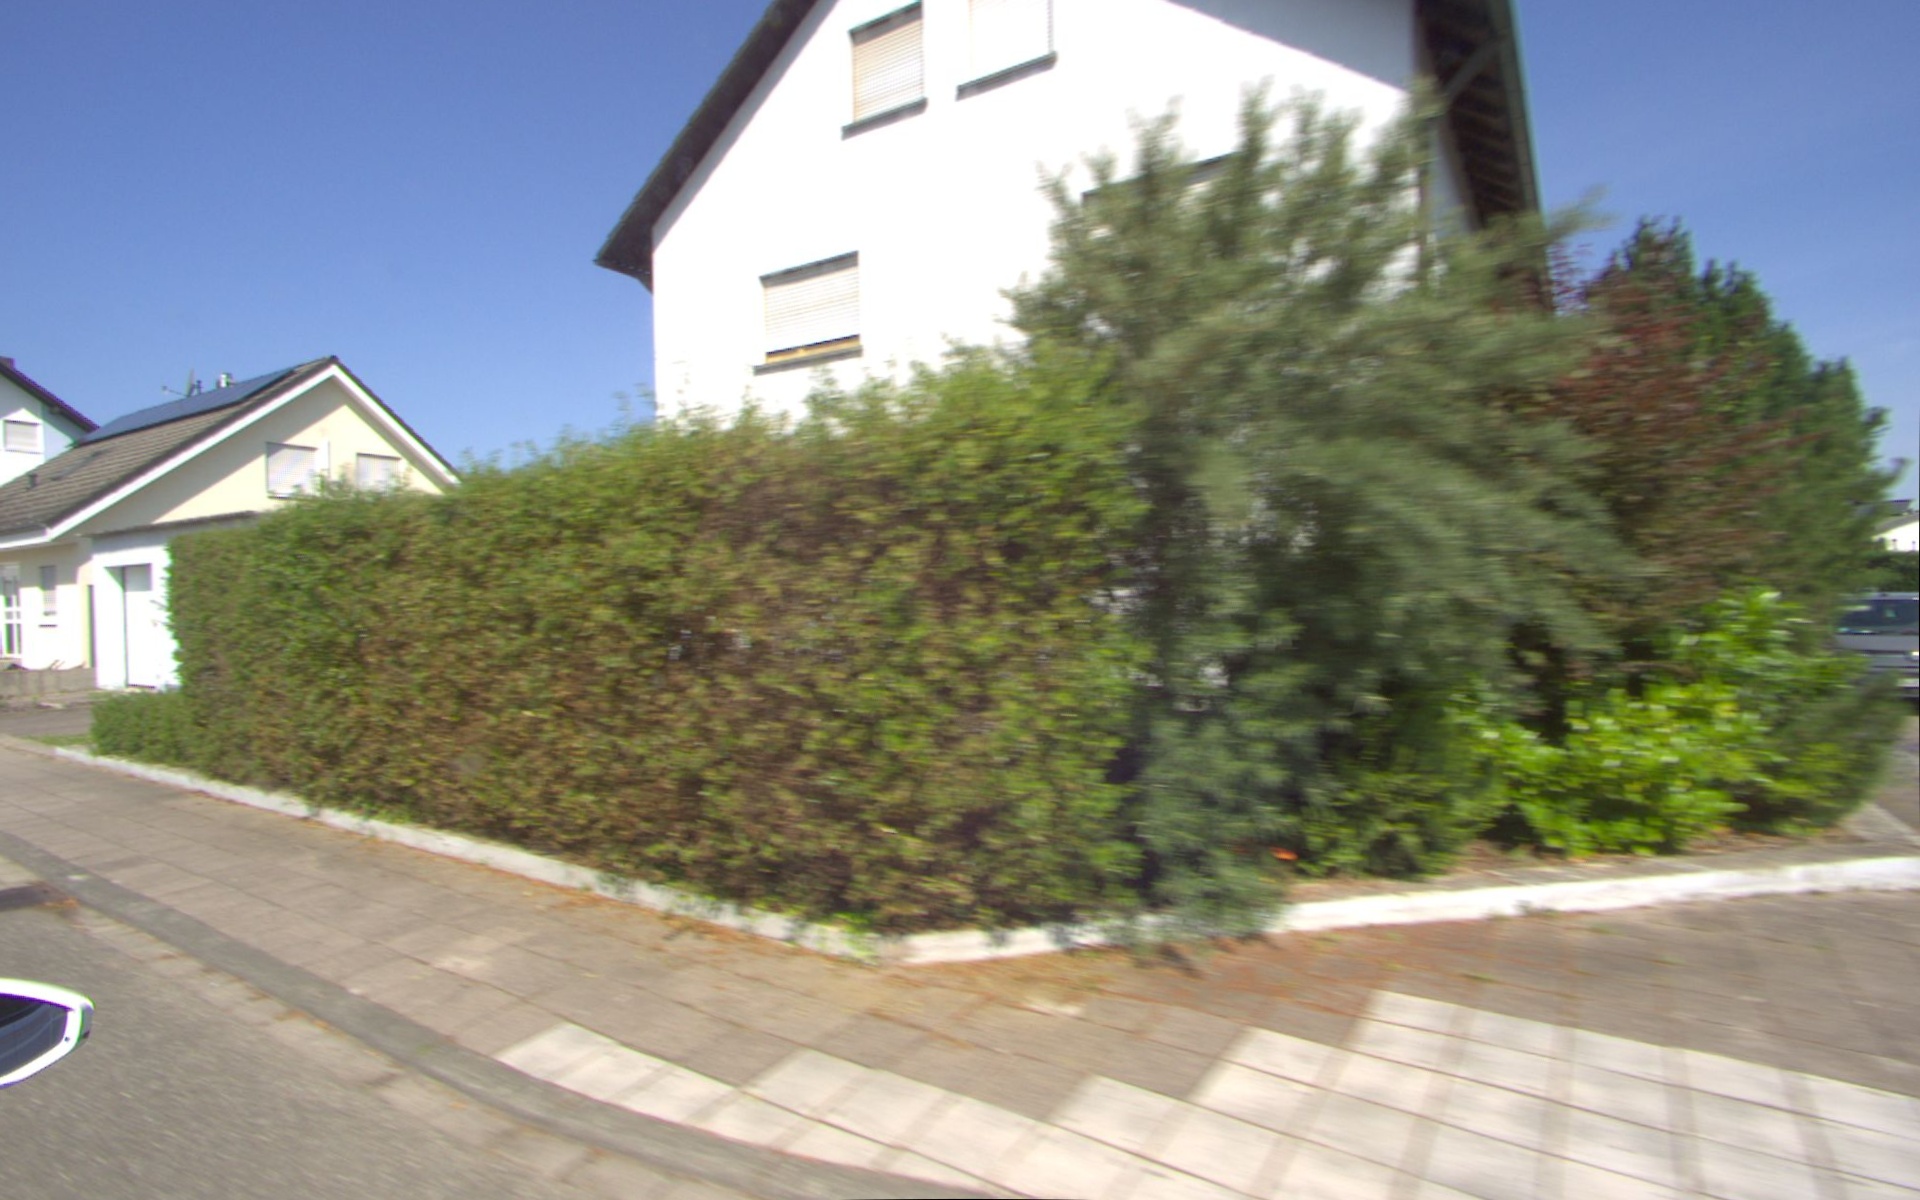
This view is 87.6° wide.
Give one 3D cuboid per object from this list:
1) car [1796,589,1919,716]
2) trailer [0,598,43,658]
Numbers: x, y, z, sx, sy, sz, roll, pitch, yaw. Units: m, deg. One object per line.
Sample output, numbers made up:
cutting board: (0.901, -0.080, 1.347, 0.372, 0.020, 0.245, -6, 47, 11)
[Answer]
car: (15.429, 0.776, 16.694, 1.881, 1.894, 4.344, 0, 0, 35)
trailer: (-28.421, 0.812, 28.730, 1.383, 1.713, 2.827, 0, 1, 33)
